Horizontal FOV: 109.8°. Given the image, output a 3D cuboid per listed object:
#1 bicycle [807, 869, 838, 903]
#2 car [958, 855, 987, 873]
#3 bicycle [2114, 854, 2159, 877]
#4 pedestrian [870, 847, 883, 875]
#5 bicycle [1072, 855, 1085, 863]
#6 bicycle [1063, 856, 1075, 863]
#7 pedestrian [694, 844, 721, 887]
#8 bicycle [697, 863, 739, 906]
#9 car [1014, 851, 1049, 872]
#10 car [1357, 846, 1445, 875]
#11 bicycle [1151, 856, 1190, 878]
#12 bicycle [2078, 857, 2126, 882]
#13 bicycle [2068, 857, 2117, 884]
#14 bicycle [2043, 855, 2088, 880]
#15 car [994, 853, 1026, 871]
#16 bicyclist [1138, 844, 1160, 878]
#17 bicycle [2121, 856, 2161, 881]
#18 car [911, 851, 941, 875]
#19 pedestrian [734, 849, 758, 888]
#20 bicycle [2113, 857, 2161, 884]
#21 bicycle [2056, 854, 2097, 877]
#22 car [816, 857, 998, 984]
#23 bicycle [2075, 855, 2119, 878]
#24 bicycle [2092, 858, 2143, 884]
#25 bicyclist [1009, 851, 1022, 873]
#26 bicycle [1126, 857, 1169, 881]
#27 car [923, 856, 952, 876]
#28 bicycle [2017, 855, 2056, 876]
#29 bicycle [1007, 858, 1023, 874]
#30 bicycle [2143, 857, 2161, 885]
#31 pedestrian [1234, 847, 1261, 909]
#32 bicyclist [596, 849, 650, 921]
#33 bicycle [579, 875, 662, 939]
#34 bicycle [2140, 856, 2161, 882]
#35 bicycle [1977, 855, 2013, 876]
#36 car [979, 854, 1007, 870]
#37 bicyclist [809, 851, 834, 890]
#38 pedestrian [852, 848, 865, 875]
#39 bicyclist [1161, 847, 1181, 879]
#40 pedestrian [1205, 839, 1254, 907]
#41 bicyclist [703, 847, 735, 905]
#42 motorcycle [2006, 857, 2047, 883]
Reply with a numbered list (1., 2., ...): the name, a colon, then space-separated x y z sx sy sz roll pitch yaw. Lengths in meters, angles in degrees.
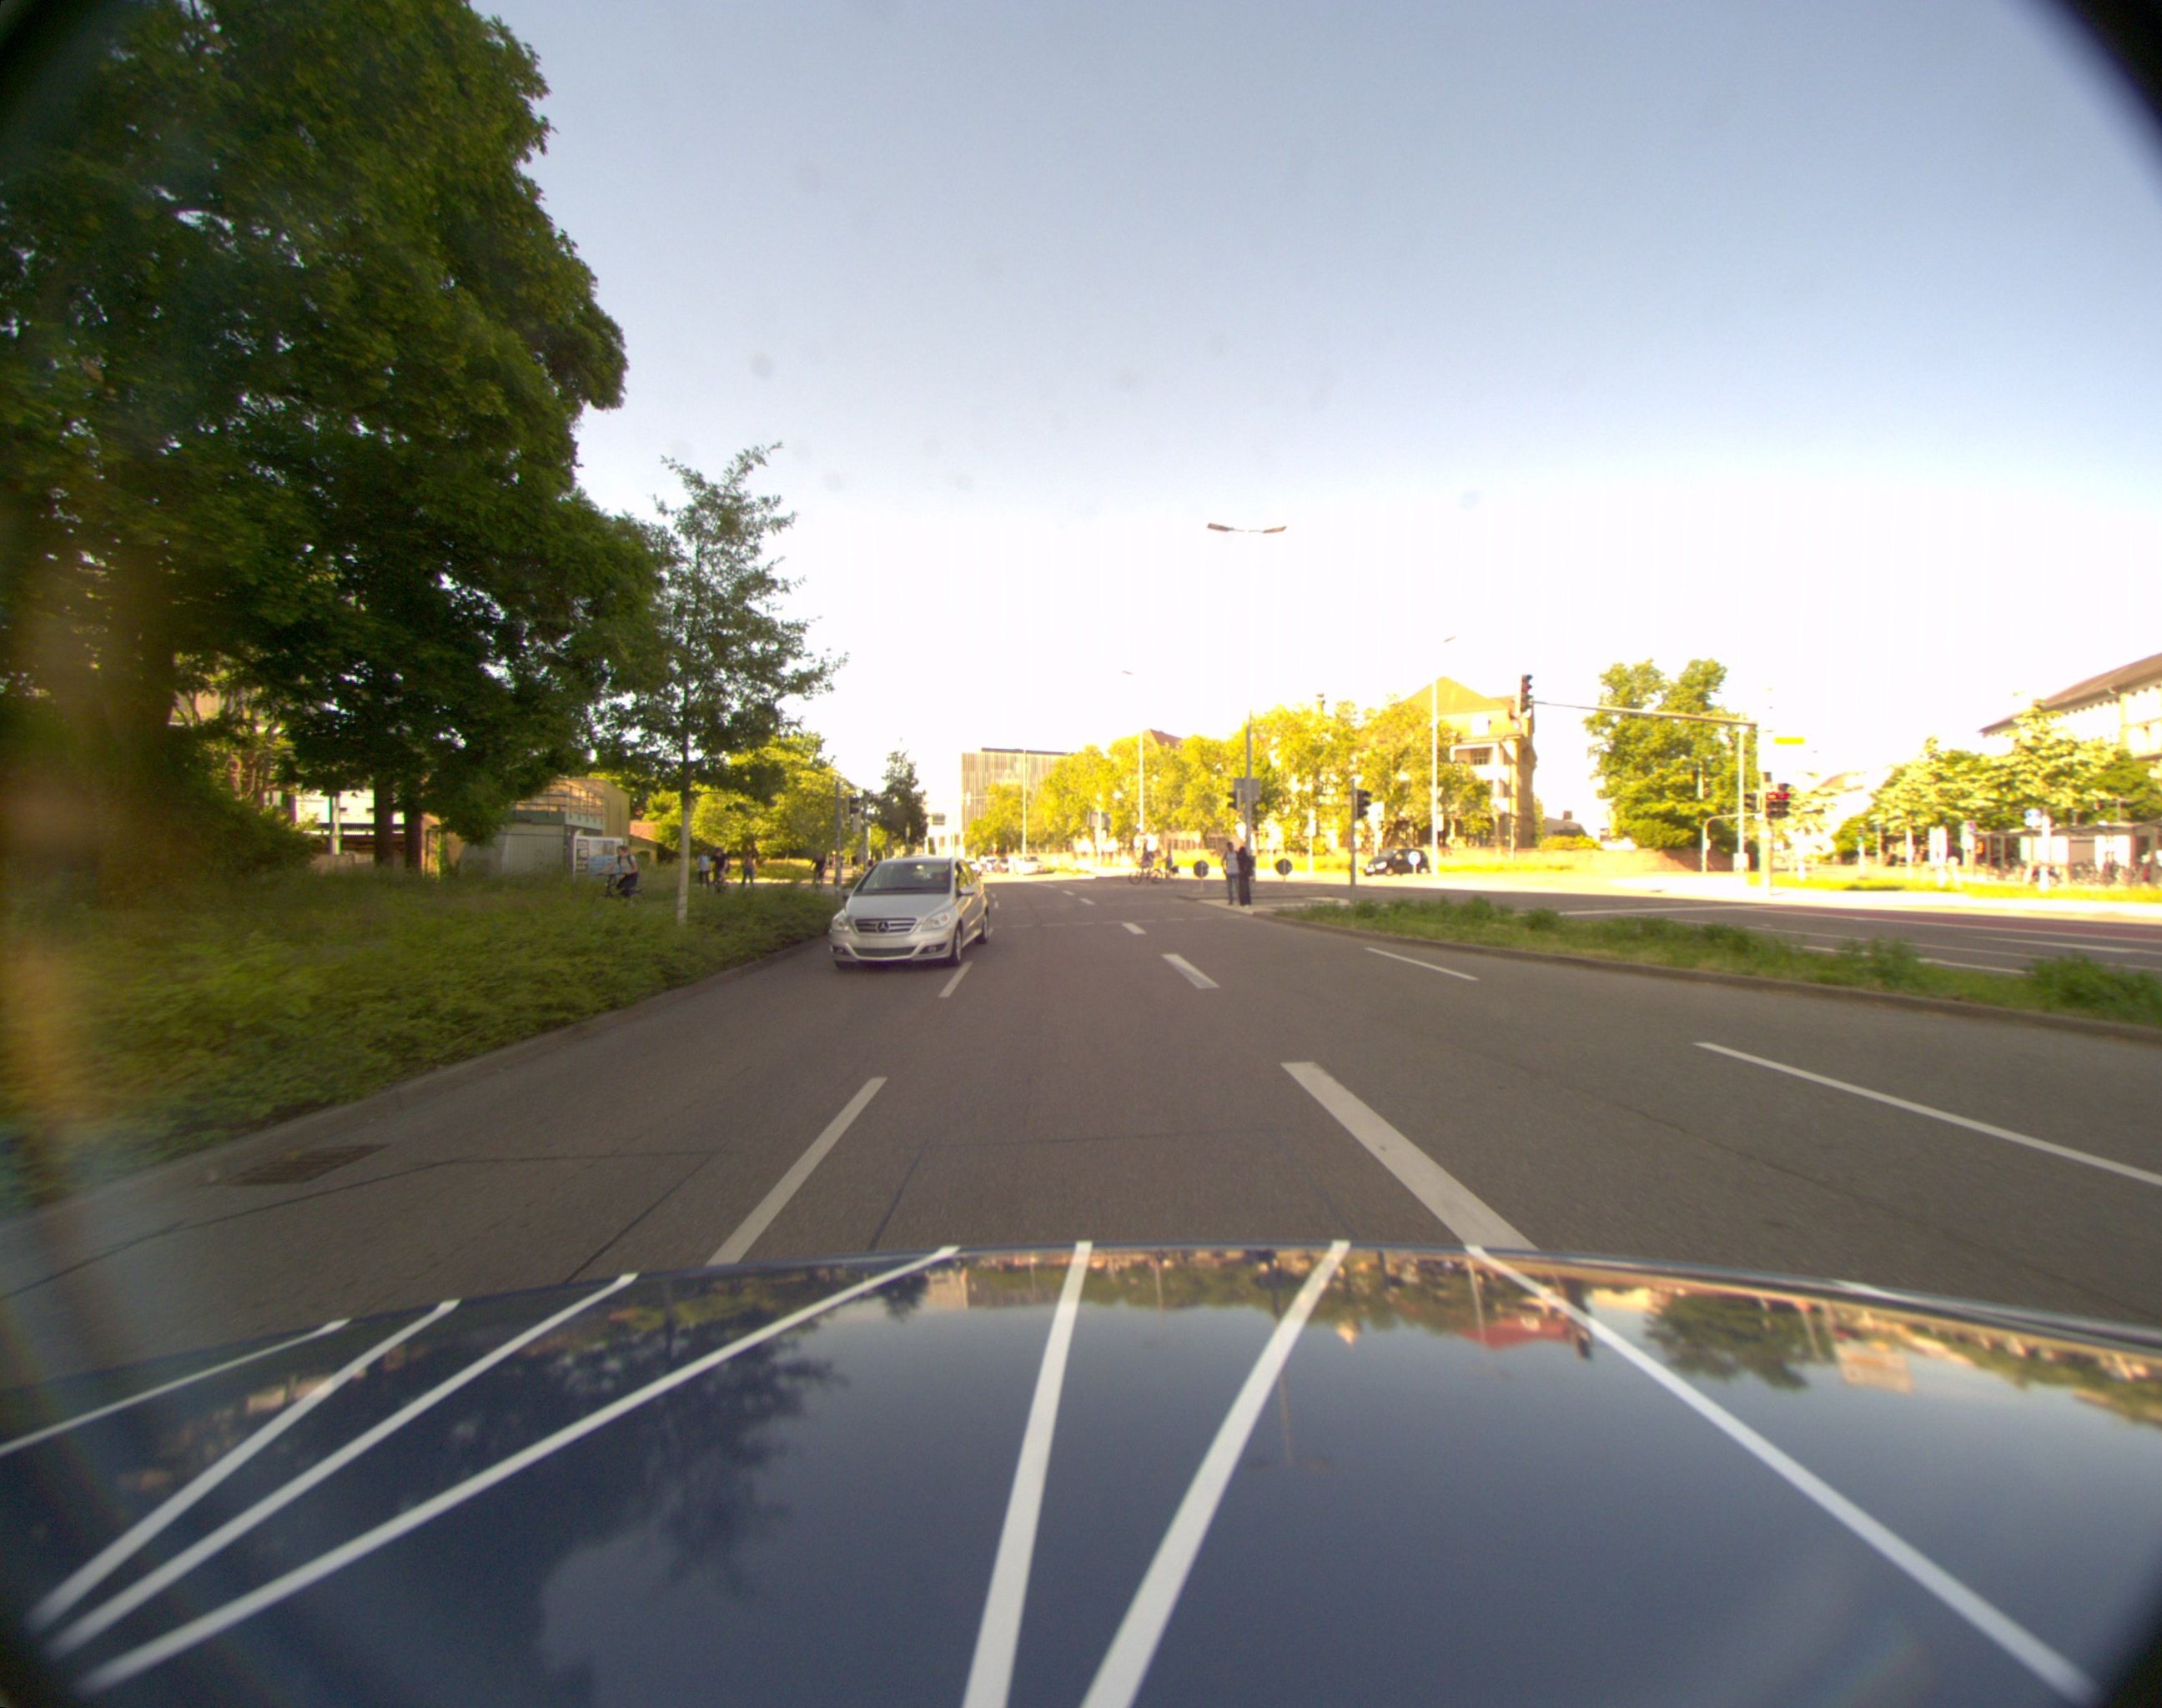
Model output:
1. bicycle: -9.736 1.183 28.645 0.643 1.158 1.869 -2 0 -5
2. car: -9.043 0.806 62.874 2.001 1.460 3.995 -1 0 -13
3. bicycle: 50.747 0.548 36.565 0.566 1.032 1.791 1 2 30
4. pedestrian: -13.739 0.480 51.051 0.731 1.805 0.736 -1 -2 -4
5. bicycle: -0.373 0.750 116.090 0.797 1.069 2.081 0 -2 -37
6. bicycle: -1.817 0.847 117.929 0.797 1.069 2.081 0 -2 -37
7. pedestrian: -14.821 0.462 30.144 0.734 1.633 0.679 -2 -2 35
8. bicycle: -10.323 0.830 21.680 0.643 1.158 1.868 0 0 -11
9. car: -4.092 0.625 62.531 1.791 1.615 4.309 -2 0 -18
10. car: 17.731 0.366 42.149 4.303 1.464 1.997 0 -2 -22
11. bicycle: 4.693 0.686 39.887 1.970 1.158 0.642 0 -1 -22
12. bicycle: 44.712 0.653 33.287 0.566 1.032 1.791 1 2 30
13. bicycle: 42.647 0.680 32.056 0.566 1.032 1.791 1 2 30
14. bicycle: 43.581 0.580 33.660 0.566 1.032 1.791 1 2 30
15. car: -6.731 0.720 71.240 1.985 1.545 4.716 -2 0 -18
16. bicyclist: 3.417 0.347 38.114 0.777 1.653 0.784 -1 0 -22
17. bicycle: 45.867 0.610 32.721 0.566 1.032 1.791 1 2 30
18. car: -13.513 0.757 65.961 1.940 1.941 4.750 -2 0 -18
19. pedestrian: -14.094 0.622 31.972 0.734 1.633 0.679 -2 -2 39
20. bicycle: 43.737 0.680 31.412 0.566 1.032 1.791 1 2 30
21. bicycle: 49.092 0.555 37.488 0.566 1.032 1.791 1 2 30
22. car: -2.556 0.896 12.352 1.770 1.584 4.638 -1 1 1
23. bicycle: 47.804 0.560 35.786 0.566 1.032 1.791 1 2 30
24. bicycle: 43.214 0.701 31.712 0.566 1.032 1.791 1 2 30
25. bicyclist: -5.009 0.616 57.847 0.747 1.675 0.976 0 2 -20
26. bicycle: 3.335 0.732 38.080 1.970 1.158 0.778 0 -1 -22
27. car: -11.258 0.945 59.627 1.706 1.433 3.994 -2 0 -18
28. bicycle: 47.950 0.565 38.146 0.566 1.032 1.791 1 2 30
29. bicycle: -5.044 0.887 57.944 0.749 1.158 1.866 0 1 -20
30. bicycle: 39.614 0.628 27.551 0.566 1.032 1.791 1 2 30
31. pedestrian: 4.379 0.625 19.958 0.681 1.603 0.720 -1 1 13
32. bicyclist: -9.436 0.629 15.668 0.643 1.436 0.776 1 1 -4
33. bicycle: -9.447 1.055 15.667 0.643 1.158 1.869 1 0 -4
34. bicycle: 44.391 0.627 31.059 0.566 1.032 1.791 1 2 30
35. bicycle: 46.738 0.578 38.858 0.566 1.032 1.791 1 2 30
36. car: -9.116 0.771 78.432 1.985 1.545 4.716 -2 0 -18
37. bicyclist: -9.744 0.610 28.590 0.643 1.436 0.953 -1 0 -5
38. pedestrian: -14.929 0.515 50.978 0.731 1.771 0.736 -1 -2 -4
39. bicyclist: 4.722 0.487 39.898 0.777 1.653 0.642 -1 0 -22
40. pedestrian: 4.165 0.517 21.281 1.097 1.822 0.754 -2 1 -30
41. bicyclist: -10.326 0.619 21.678 0.643 1.635 0.776 0 0 -11
42. motorcycle: 41.543 0.697 33.409 0.593 1.112 1.989 0 0 35
